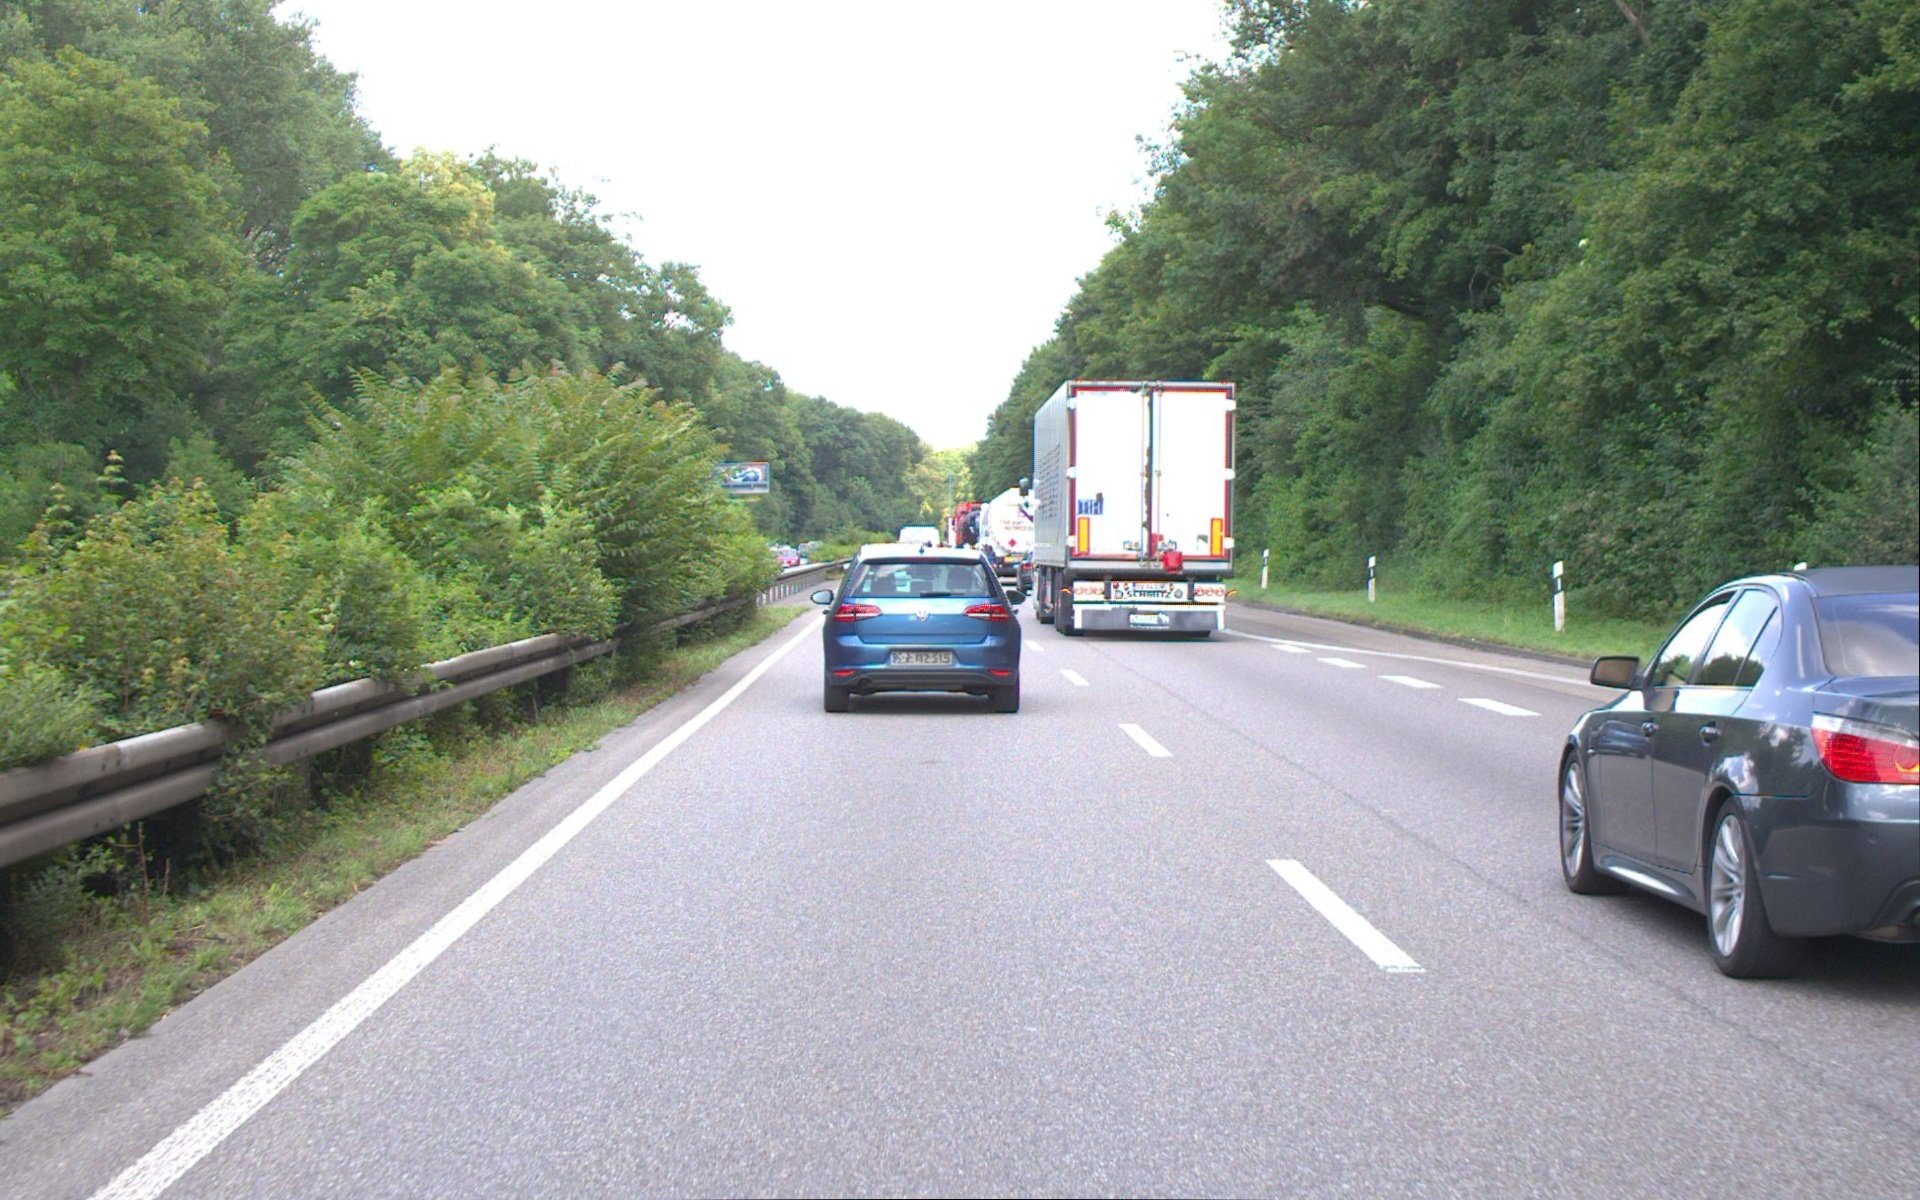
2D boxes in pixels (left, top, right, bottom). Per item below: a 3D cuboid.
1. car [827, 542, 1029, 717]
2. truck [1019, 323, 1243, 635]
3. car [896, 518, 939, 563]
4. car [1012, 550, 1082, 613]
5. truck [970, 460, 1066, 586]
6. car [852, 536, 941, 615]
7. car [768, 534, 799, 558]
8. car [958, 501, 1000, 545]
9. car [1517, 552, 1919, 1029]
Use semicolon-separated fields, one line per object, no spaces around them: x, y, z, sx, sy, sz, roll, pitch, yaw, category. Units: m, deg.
-0.312;0.222;31.334;1.705;1.465;4.000;1;1;-1;car
2.701;-1.967;57.852;3.242;4.700;11.007;-1;1;0;truck
-2.168;-3.016;173.538;1.993;2.247;4.443;-1;1;-3;car
2.512;-0.554;100.020;1.888;1.723;4.000;-1;1;0;car
2.049;-2.746;126.743;3.232;4.371;12.971;0;1;0;truck
-1.218;-0.498;67.388;1.665;1.495;4.152;0;1;0;car
-10.969;-3.376;213.971;1.678;1.449;4.128;-1;1;0;car
1.008;-4.208;187.248;1.993;2.319;4.443;-1;1;-3;car
3.481;0.575;13.263;1.774;1.470;4.881;1;1;-1;car
